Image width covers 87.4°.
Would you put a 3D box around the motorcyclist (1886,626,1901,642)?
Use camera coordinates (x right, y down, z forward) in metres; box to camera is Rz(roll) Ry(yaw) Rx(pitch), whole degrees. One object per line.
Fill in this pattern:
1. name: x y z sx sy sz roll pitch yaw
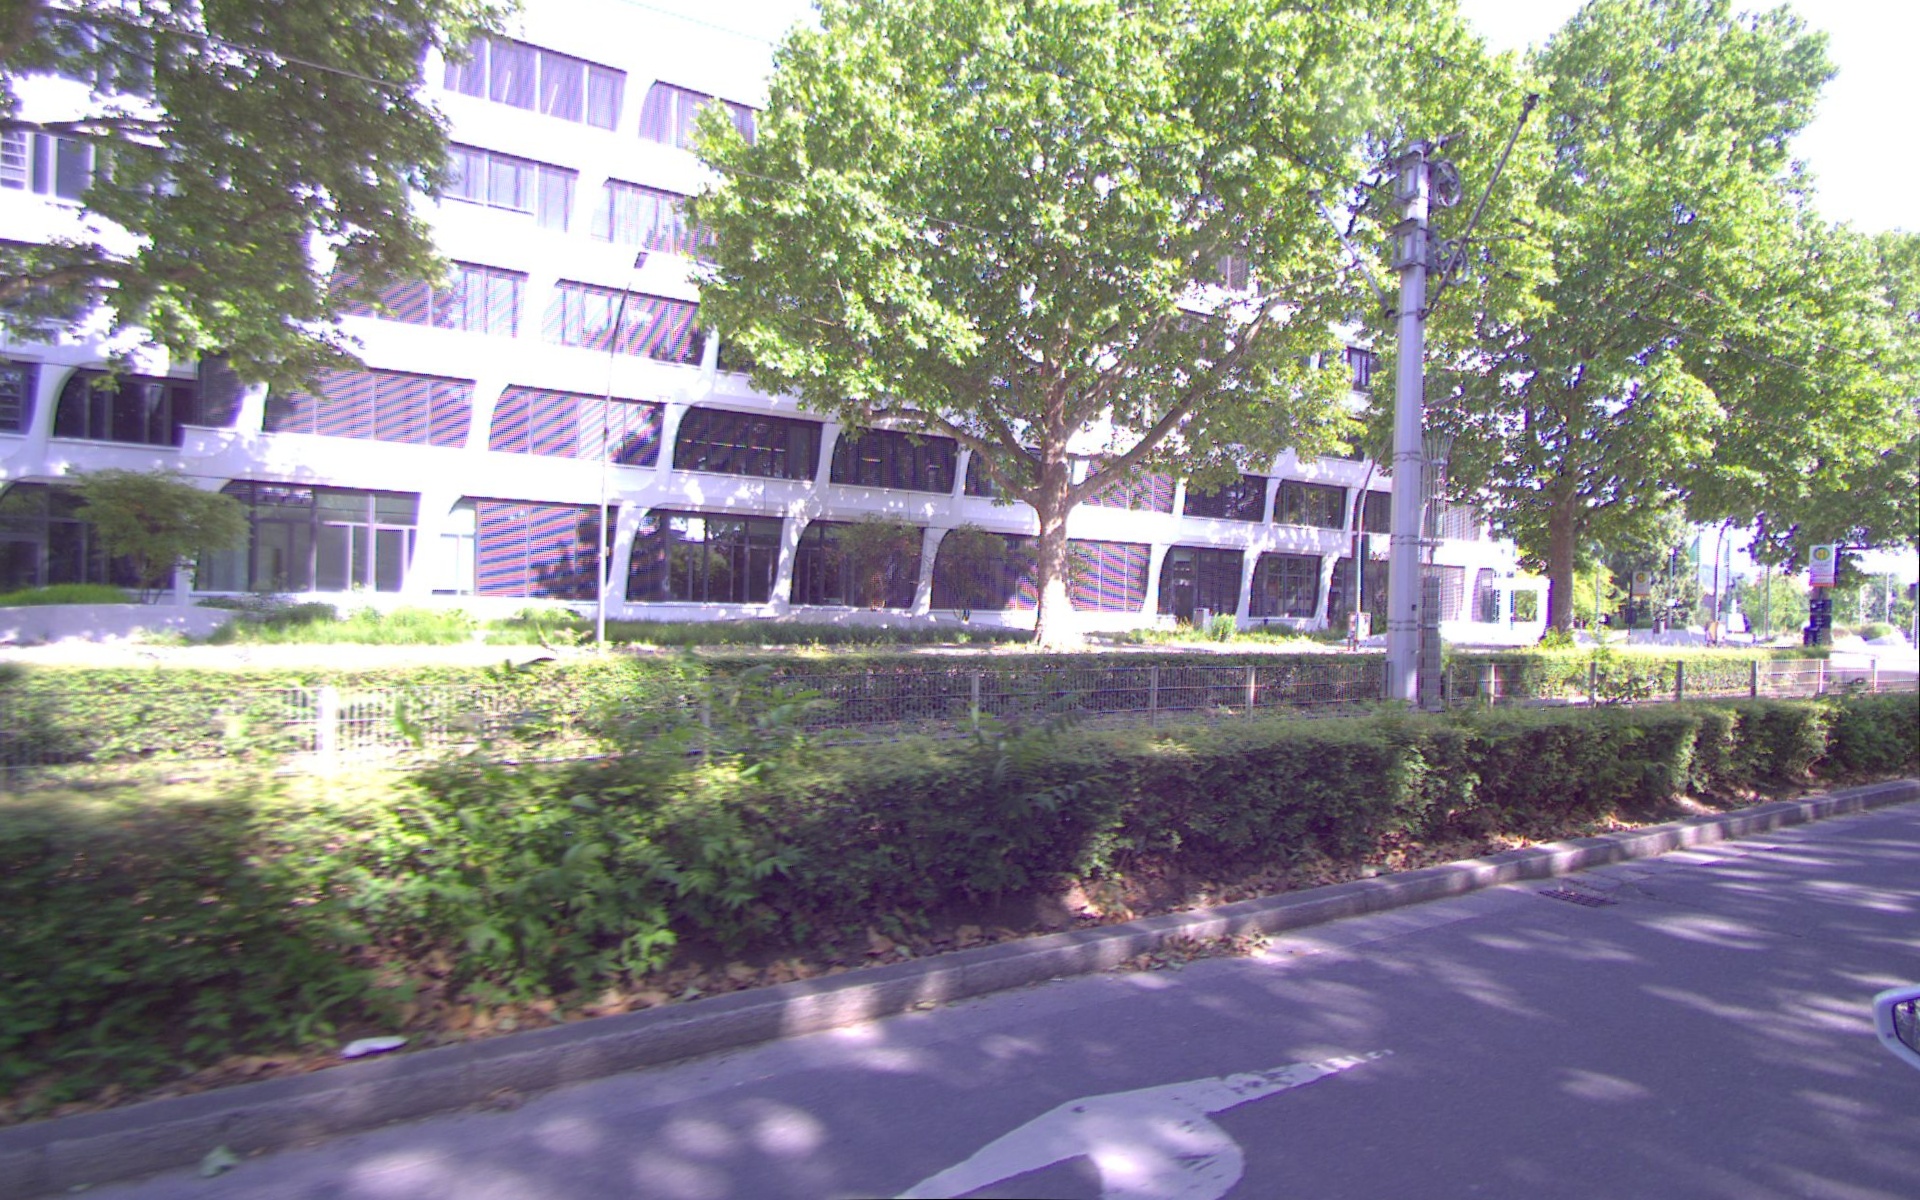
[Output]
1. motorcyclist: 80.117 2.893 86.215 0.597 1.332 0.749 1 0 -29
